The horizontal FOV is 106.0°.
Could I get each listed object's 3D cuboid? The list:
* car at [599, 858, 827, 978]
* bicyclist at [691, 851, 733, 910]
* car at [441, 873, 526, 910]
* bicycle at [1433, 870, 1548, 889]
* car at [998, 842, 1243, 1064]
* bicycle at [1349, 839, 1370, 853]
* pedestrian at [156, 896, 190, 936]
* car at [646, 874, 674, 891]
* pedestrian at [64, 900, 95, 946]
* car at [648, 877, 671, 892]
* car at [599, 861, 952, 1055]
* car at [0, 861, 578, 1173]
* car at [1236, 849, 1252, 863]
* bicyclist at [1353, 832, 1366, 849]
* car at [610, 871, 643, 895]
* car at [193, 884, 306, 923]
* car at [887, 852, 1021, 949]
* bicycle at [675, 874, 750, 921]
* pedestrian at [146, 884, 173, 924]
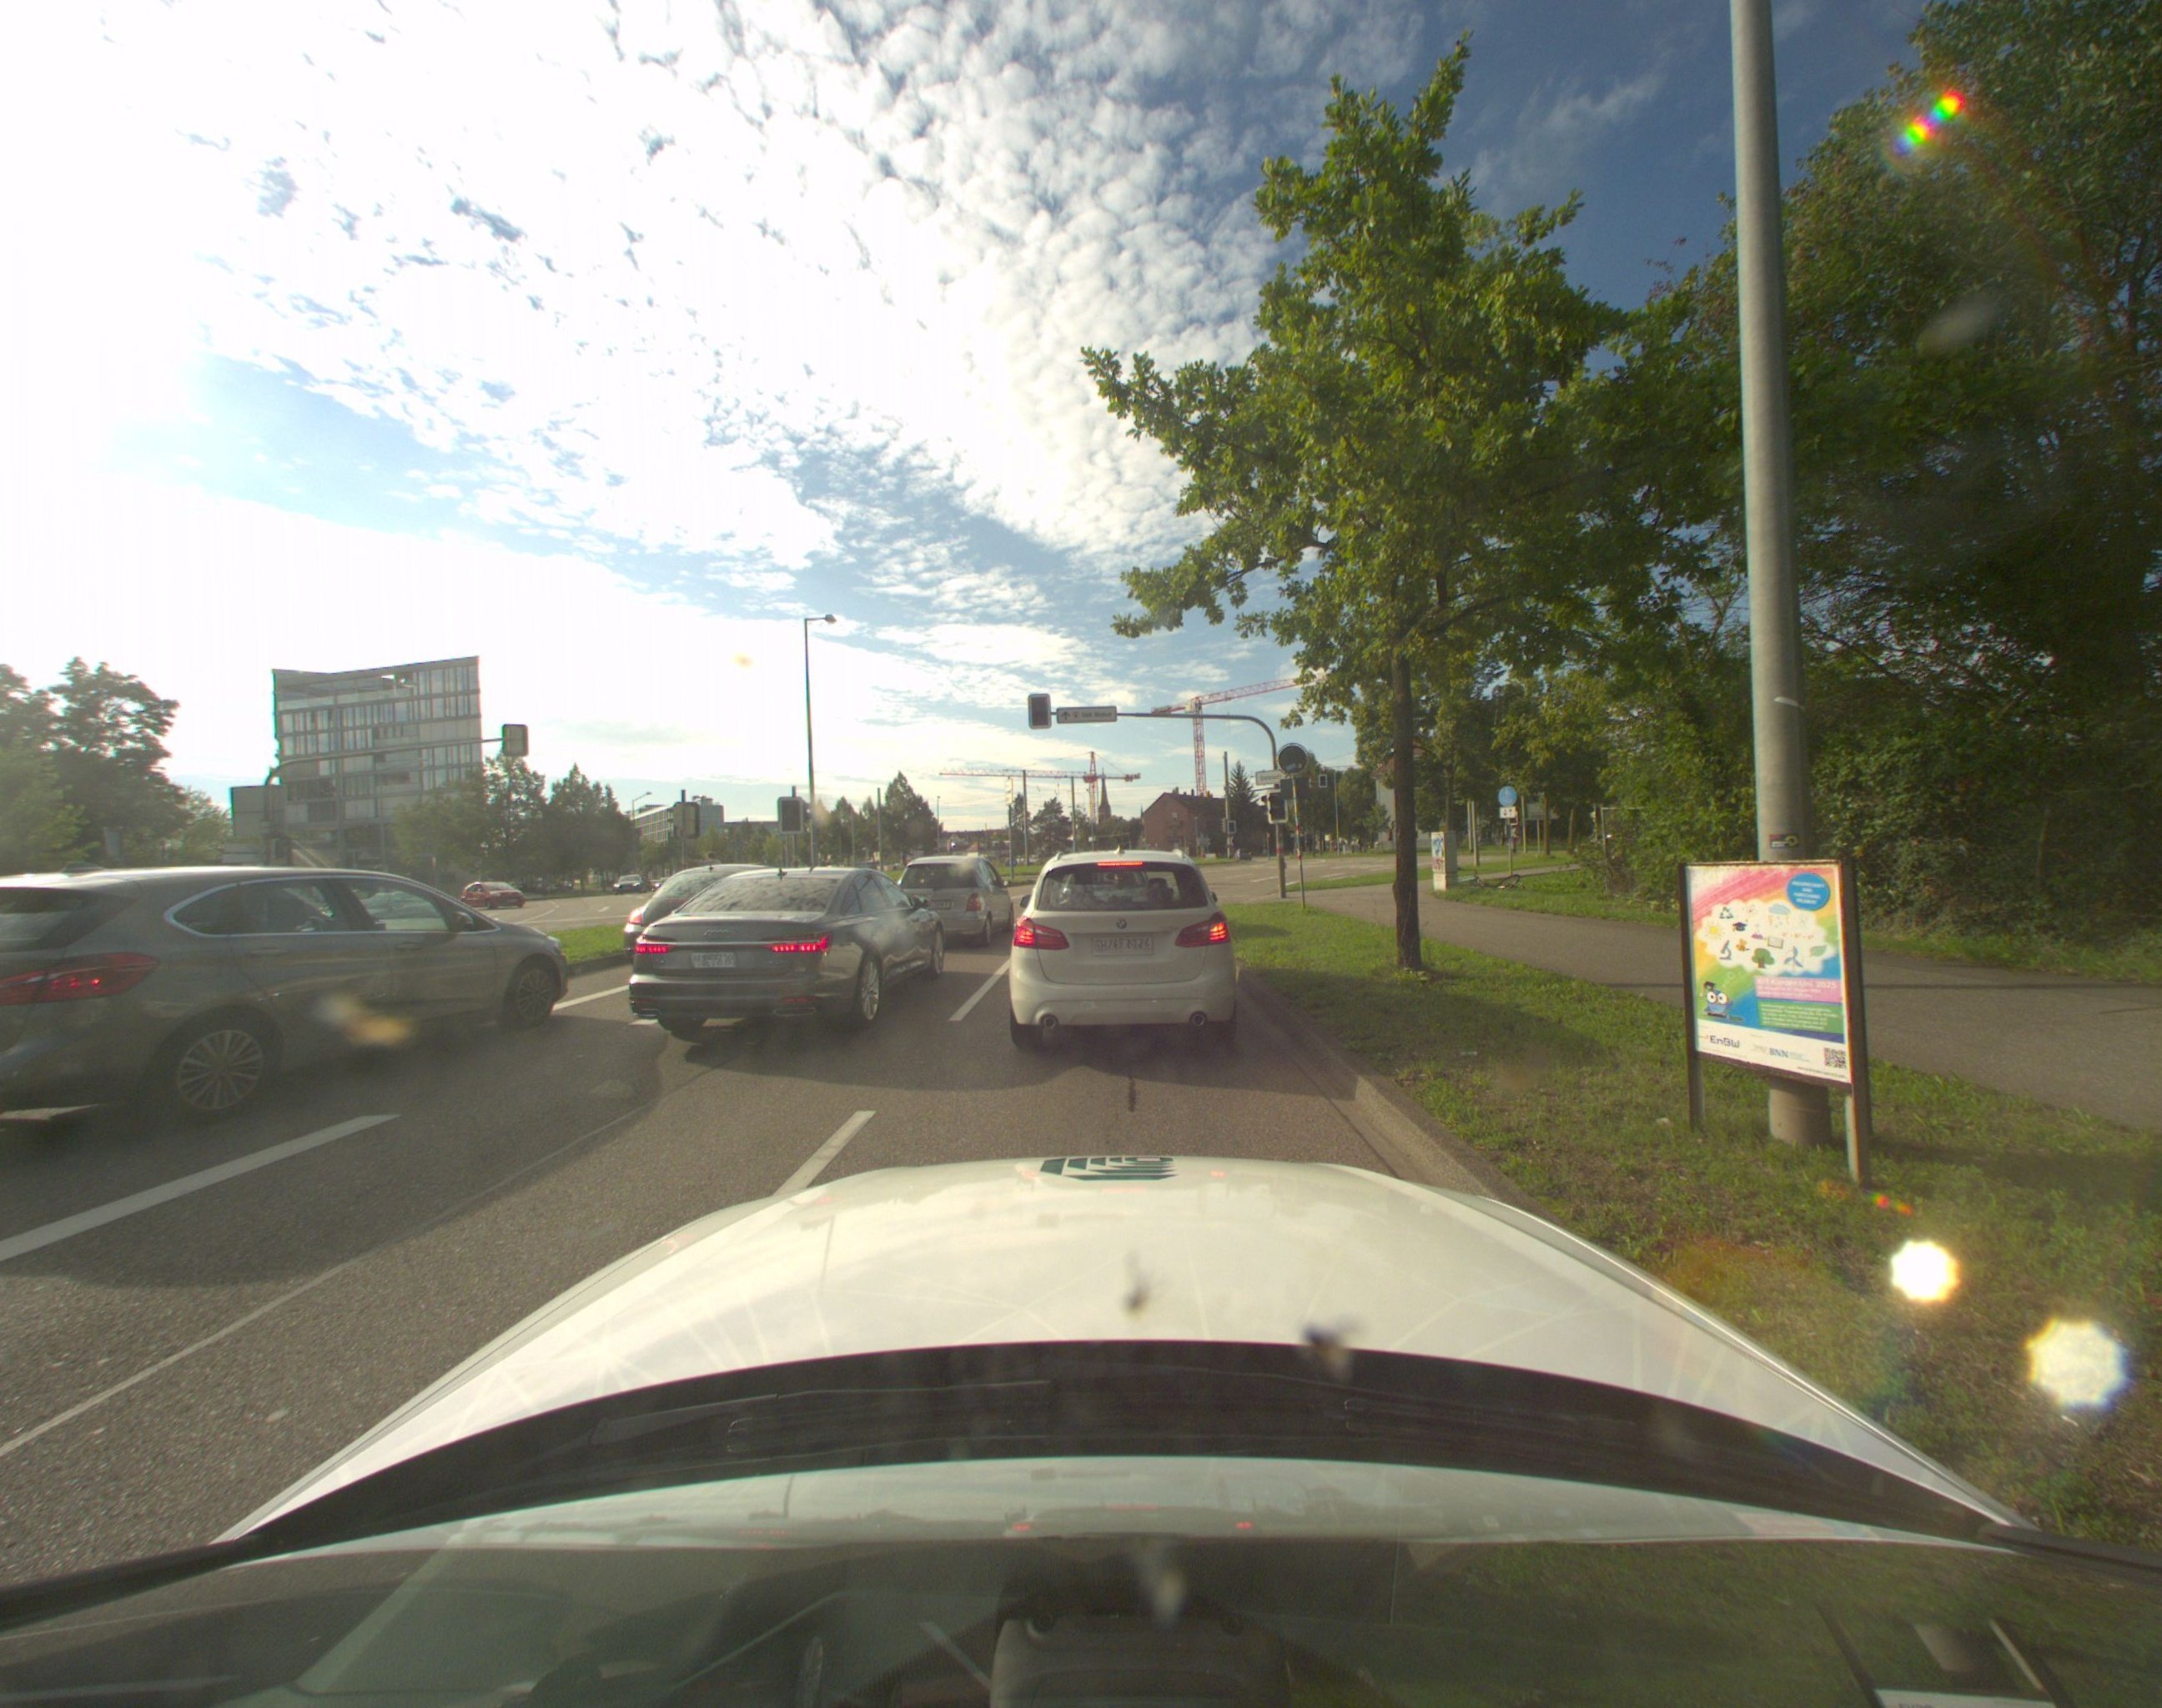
[{"bbox_3d":[-5.391,0.846,12.515,1.674,1.523,3.811,-1,0,1],"label":"car"},{"bbox_3d":[-10.045,0.718,22.187,0.850,1.526,0.737,-3,-1,-15],"label":"bicyclist"},{"bbox_3d":[-31.107,1.954,42.399,3.952,1.769,1.721,-2,0,22],"label":"car"},{"bbox_3d":[10.456,0.637,20.968,1.407,0.385,2.568,-3,0,-9],"label":"bicycle"},{"bbox_3d":[0.341,0.710,7.851,1.723,1.558,4.059,-1,0,2],"label":"car"},{"bbox_3d":[32.347,-0.956,94.615,0.898,1.530,2.268,0,-2,-28],"label":"bicycle"},{"bbox_3d":[-37.081,2.509,33.258,0.654,1.569,0.614,-2,-1,-5],"label":"pedestrian"},{"bbox_3d":[-43.798,2.947,84.783,1.790,1.575,3.978,-3,0,-16],"label":"car"},{"bbox_3d":[-35.463,2.441,28.840,0.573,1.581,0.596,1,-2,36],"label":"pedestrian"},{"bbox_3d":[-50.705,3.694,97.975,1.721,1.691,3.955,-2,-1,-37],"label":"car"},{"bbox_3d":[-2.766,0.837,8.687,1.883,1.483,4.614,-1,-1,2],"label":"car"},{"bbox_3d":[-5.981,0.859,6.153,1.722,1.558,4.021,-1,0,2],"label":"car"},{"bbox_3d":[20.481,0.260,102.383,1.562,1.574,3.203,-2,-1,5],"label":"car"},{"bbox_3d":[32.351,-1.549,94.591,0.824,2.014,1.213,0,-2,-28],"label":"bicyclist"},{"bbox_3d":[-32.928,2.069,59.077,1.715,1.574,3.966,-2,0,-25],"label":"car"},{"bbox_3d":[-40.989,2.401,40.245,3.512,1.592,1.578,-4,0,-30],"label":"car"},{"bbox_3d":[-2.248,0.766,15.423,1.722,1.558,4.060,-1,0,2],"label":"car"},{"bbox_3d":[-10.012,1.170,22.190,1.728,1.163,0.652,-2,-1,-15],"label":"bicycle"},{"bbox_3d":[-48.017,2.609,42.436,0.923,2.013,0.886,-3,-1,40],"label":"pedestrian"}]
